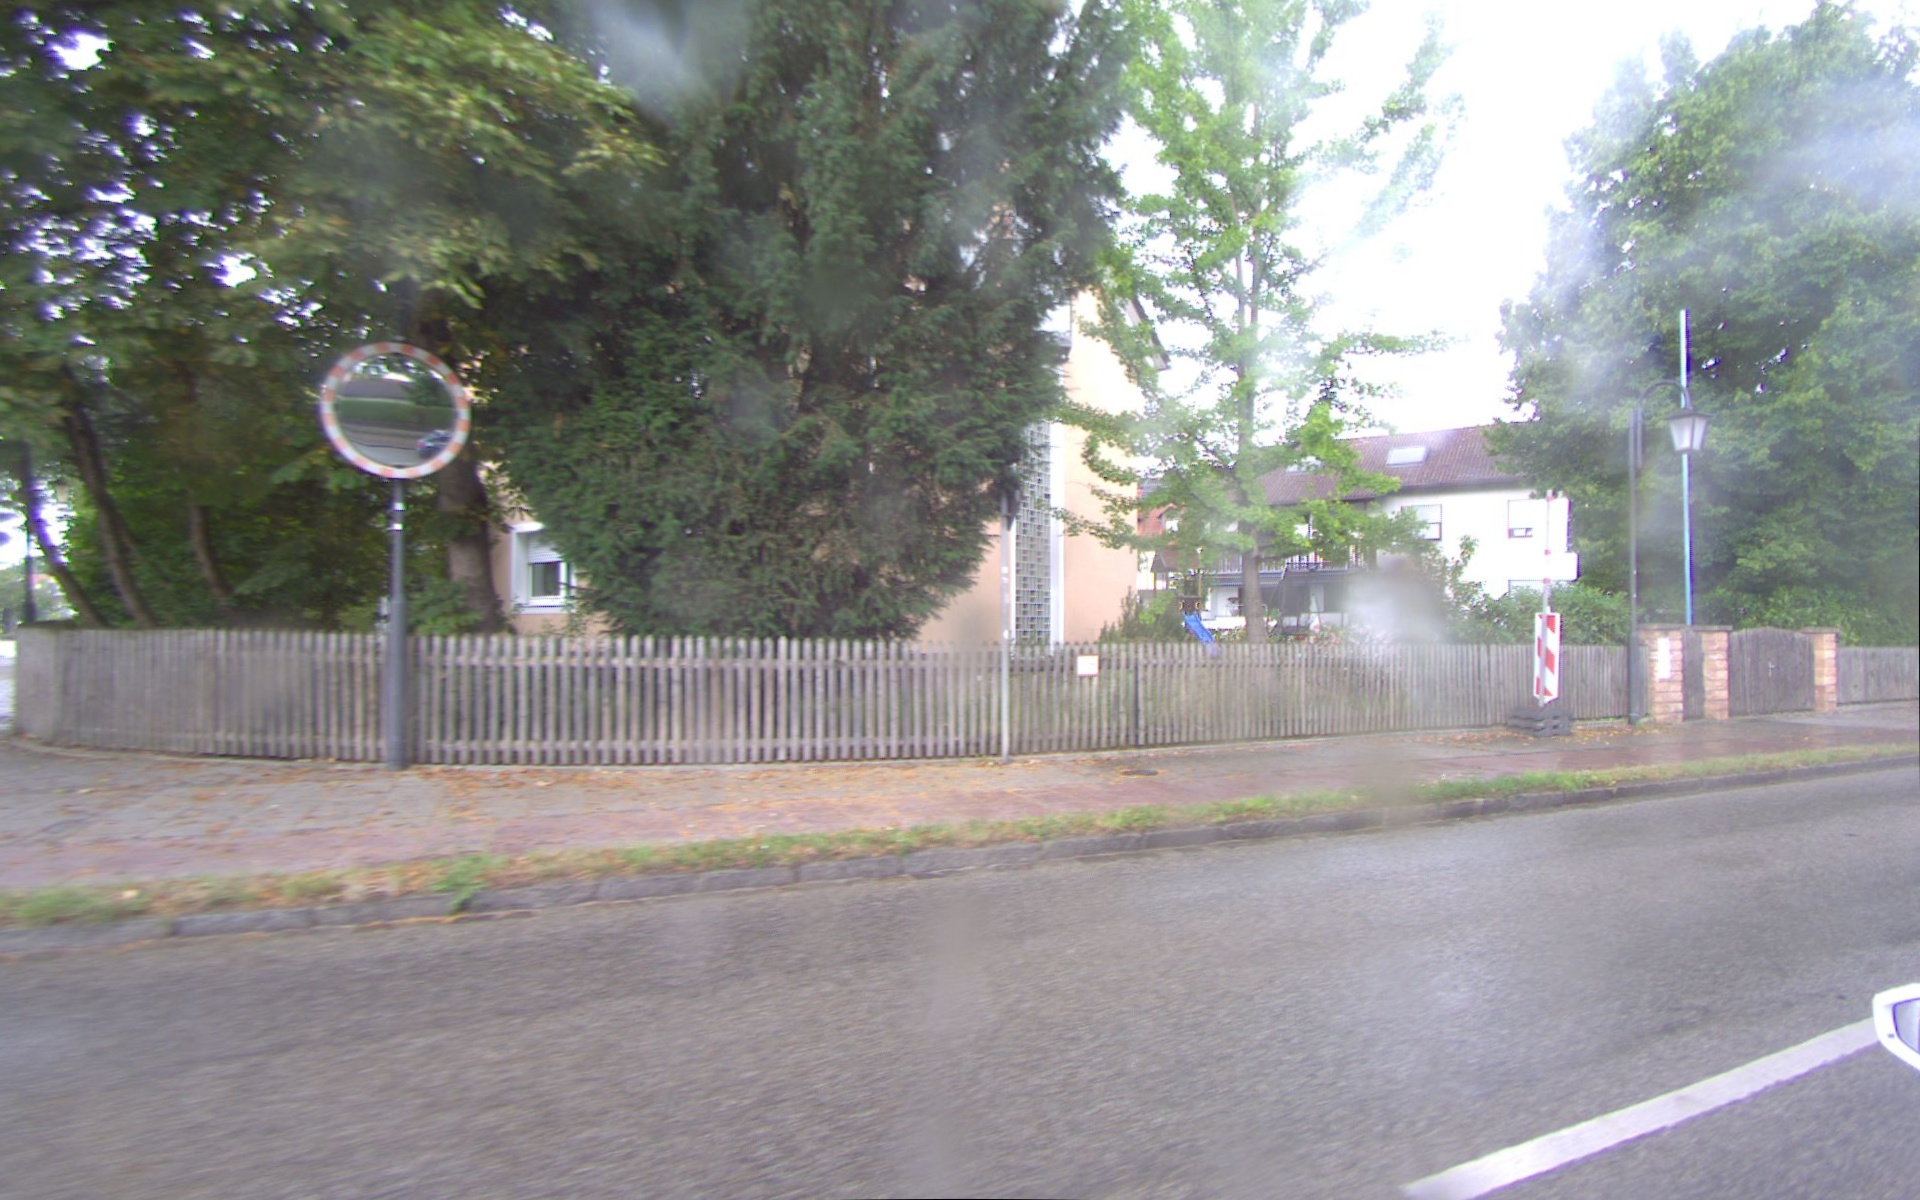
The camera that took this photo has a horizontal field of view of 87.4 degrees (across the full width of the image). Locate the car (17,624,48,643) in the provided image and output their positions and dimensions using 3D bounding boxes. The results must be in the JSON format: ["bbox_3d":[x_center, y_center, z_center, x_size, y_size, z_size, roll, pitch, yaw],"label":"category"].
[{"bbox_3d":[-83.895,3.030,90.890,1.986,1.461,3.948,2,0,-43],"label":"car"}]
